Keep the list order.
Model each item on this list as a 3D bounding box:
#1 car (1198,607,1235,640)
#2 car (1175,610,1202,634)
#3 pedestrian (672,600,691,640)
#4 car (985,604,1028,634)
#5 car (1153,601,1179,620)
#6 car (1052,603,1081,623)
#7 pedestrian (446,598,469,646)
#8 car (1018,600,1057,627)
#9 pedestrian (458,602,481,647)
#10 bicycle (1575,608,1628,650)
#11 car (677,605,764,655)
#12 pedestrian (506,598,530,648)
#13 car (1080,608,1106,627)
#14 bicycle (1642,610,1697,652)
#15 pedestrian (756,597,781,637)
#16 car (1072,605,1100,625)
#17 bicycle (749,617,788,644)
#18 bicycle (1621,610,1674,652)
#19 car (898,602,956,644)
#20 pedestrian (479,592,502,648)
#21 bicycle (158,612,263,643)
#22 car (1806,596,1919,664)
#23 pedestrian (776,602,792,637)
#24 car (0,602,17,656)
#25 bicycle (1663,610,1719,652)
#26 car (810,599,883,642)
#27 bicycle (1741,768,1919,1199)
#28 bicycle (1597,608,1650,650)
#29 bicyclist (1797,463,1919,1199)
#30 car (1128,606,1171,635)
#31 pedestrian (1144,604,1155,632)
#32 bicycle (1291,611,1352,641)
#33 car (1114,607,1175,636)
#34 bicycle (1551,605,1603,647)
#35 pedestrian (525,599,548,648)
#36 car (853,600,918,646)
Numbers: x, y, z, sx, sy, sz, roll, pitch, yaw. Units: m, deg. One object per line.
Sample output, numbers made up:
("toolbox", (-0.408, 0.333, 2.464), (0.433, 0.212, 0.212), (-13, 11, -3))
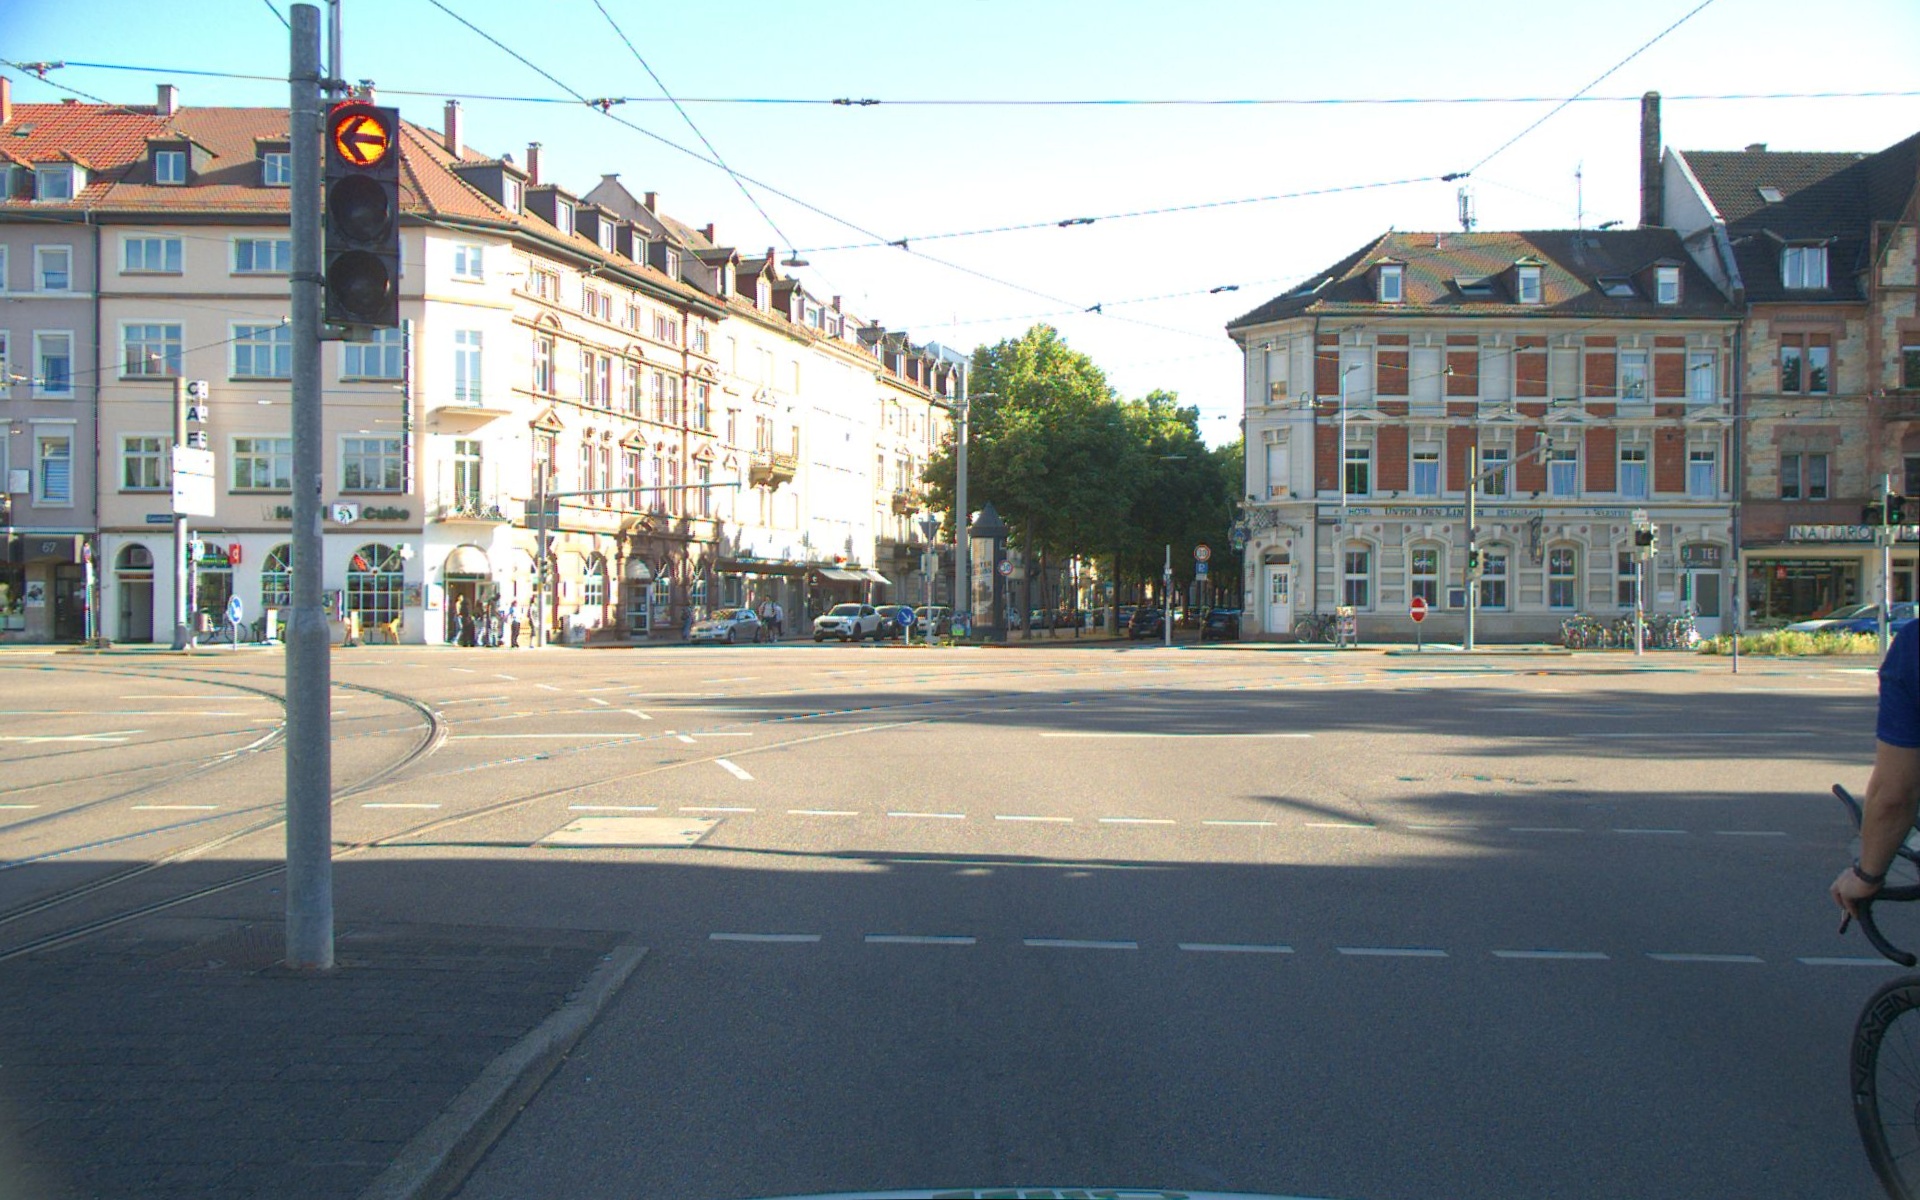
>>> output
("car", (12.864, 1.143, 82.779), (1.655, 1.592, 3.844), (1, 0, 11))
("car", (15.721, 1.501, 113.897), (1.734, 1.557, 4.003), (1, 0, 9))
("pedestrian", (-11.792, 0.836, 69.990), (0.532, 1.660, 0.707), (1, -1, 13))
("car", (3.176, 1.292, 112.740), (1.951, 1.937, 4.002), (1, 0, 16))
("car", (16.785, 0.839, 134.850), (1.526, 1.540, 3.658), (1, 0, 16))
("car", (8.505, 1.010, 132.234), (1.526, 1.540, 3.658), (1, 0, 16))
("pedestrian", (-17.108, 0.746, 56.307), (0.620, 1.640, 0.465), (1, -1, -5))
("car", (5.774, 1.025, 122.426), (1.951, 1.937, 4.002), (1, 0, 16))
("pedestrian", (-16.540, 0.834, 55.801), (0.620, 1.502, 0.465), (1, -1, -5))
("bicycle", (20.592, 0.903, 53.131), (0.678, 1.309, 2.661), (1, 0, 0))
("car", (-9.660, 1.191, 67.023), (1.951, 1.937, 4.002), (1, 0, 17))
("pedestrian", (-14.865, 0.785, 55.674), (0.620, 1.662, 0.700), (1, -1, -4))
("car", (11.500, 1.496, 142.569), (1.526, 1.540, 3.658), (1, 0, 16))
("bicycle", (22.795, 0.971, 53.179), (0.615, 1.309, 2.661), (1, 0, 0))
("pedestrian", (-7.545, 0.669, 65.090), (0.803, 1.539, 0.598), (1, -1, 14))
("car", (10.382, 1.236, 136.220), (1.526, 1.540, 3.658), (1, 0, 16))
("bicycle", (-7.533, 1.209, 65.162), (0.746, 1.025, 2.398), (1, 0, 13))
("bicycle", (22.080, 0.971, 53.154), (0.615, 1.309, 2.661), (1, 0, 0))
("car", (-1.545, 1.070, 79.628), (1.951, 1.937, 4.003), (1, 0, 11))
("pedestrian", (-16.063, 0.682, 56.598), (0.620, 1.914, 0.465), (1, -1, -5))
("bicycle", (-25.521, 0.944, 56.354), (3.066, 0.997, 1.001), (1, 0, -1))
("car", (25.926, 0.827, 46.053), (3.706, 1.809, 1.999), (1, 0, -2))
("pedestrian", (-8.448, 0.948, 79.372), (0.532, 1.660, 0.707), (1, -1, 13))
("car", (-32.390, 0.915, 52.433), (3.902, 1.699, 2.002), (0, 0, 8))
("bicycle", (23.479, 0.988, 53.177), (0.615, 1.309, 2.661), (1, 0, 0))
("car", (-4.570, 0.832, 67.205), (1.951, 1.646, 4.003), (1, 0, 11))
("bicycle", (2.184, 0.964, 3.170), (0.613, 1.104, 1.703), (1, 0, 2))
("bicycle", (21.303, 0.909, 53.152), (0.615, 1.309, 2.661), (1, 0, 0))
("bicyclist", (2.174, 0.497, 3.236), (0.625, 1.520, 0.884), (1, 1, 3))
("car", (9.386, 0.995, 81.690), (1.716, 1.386, 3.859), (1, 0, 12))
("pedestrian", (12.117, 1.156, 105.983), (0.626, 1.827, 0.491), (1, -1, 12))
("bicycle", (12.511, 0.884, 57.269), (2.006, 1.015, 0.631), (1, 0, 2))
("car", (12.847, 1.469, 115.155), (3.902, 1.937, 2.001), (1, 0, 15))
("bicycle", (19.798, 0.826, 53.137), (0.678, 1.309, 2.661), (1, 0, 0))
("pedestrian", (-14.599, 0.816, 56.975), (0.620, 1.662, 0.700), (1, -1, -4))
("car", (-3.283, 1.016, 73.735), (1.951, 1.937, 4.003), (1, 0, 11))
